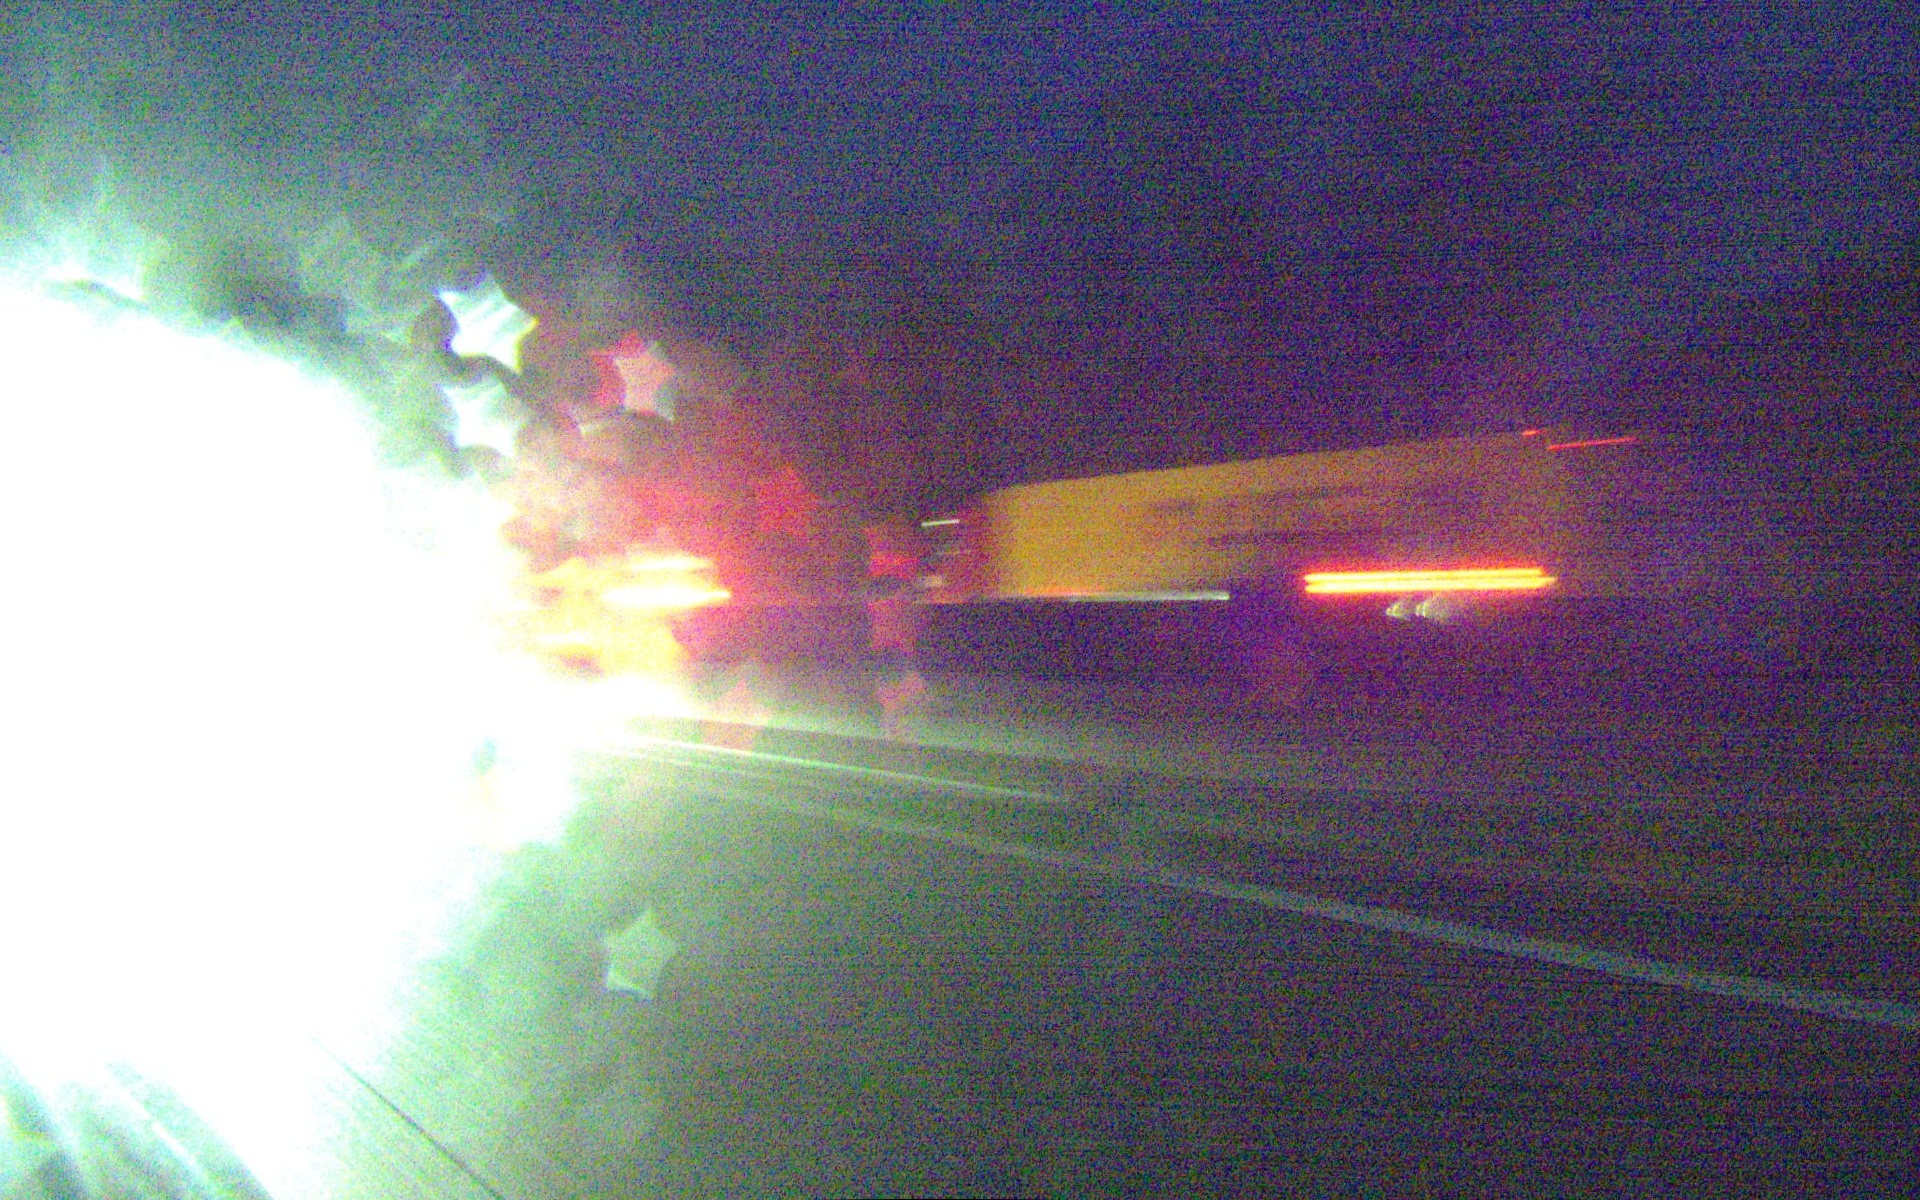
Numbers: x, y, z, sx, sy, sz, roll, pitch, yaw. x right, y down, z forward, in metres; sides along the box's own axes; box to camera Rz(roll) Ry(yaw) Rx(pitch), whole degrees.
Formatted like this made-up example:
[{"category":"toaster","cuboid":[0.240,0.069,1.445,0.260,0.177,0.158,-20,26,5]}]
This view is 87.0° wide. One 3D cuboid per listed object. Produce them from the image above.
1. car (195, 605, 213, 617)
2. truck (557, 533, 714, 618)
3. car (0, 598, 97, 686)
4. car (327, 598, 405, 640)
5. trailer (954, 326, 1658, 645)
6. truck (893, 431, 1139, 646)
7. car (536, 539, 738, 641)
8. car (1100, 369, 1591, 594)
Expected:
[{"category":"car","cuboid":[-129.260,1.913,172.945,1.970,1.866,4.005,-6,2,-42]},{"category":"truck","cuboid":[-11.719,-0.839,36.251,6.116,2.691,2.263,-2,3,39]},{"category":"car","cuboid":[-24.075,1.092,26.344,4.001,2.028,1.972,-3,1,44]},{"category":"car","cuboid":[-27.867,0.898,47.420,3.999,1.699,1.973,-3,2,43]},{"category":"trailer","cuboid":[6.527,-1.793,22.973,14.927,5.128,2.743,-4,2,41]},{"category":"truck","cuboid":[1.422,-1.492,27.442,5.879,5.135,2.724,-4,2,41]},{"category":"car","cuboid":[-7.779,-0.188,24.070,5.191,2.028,1.974,-4,2,40]},{"category":"car","cuboid":[5.568,-1.542,15.367,6.417,2.415,2.397,-3,2,41]}]
